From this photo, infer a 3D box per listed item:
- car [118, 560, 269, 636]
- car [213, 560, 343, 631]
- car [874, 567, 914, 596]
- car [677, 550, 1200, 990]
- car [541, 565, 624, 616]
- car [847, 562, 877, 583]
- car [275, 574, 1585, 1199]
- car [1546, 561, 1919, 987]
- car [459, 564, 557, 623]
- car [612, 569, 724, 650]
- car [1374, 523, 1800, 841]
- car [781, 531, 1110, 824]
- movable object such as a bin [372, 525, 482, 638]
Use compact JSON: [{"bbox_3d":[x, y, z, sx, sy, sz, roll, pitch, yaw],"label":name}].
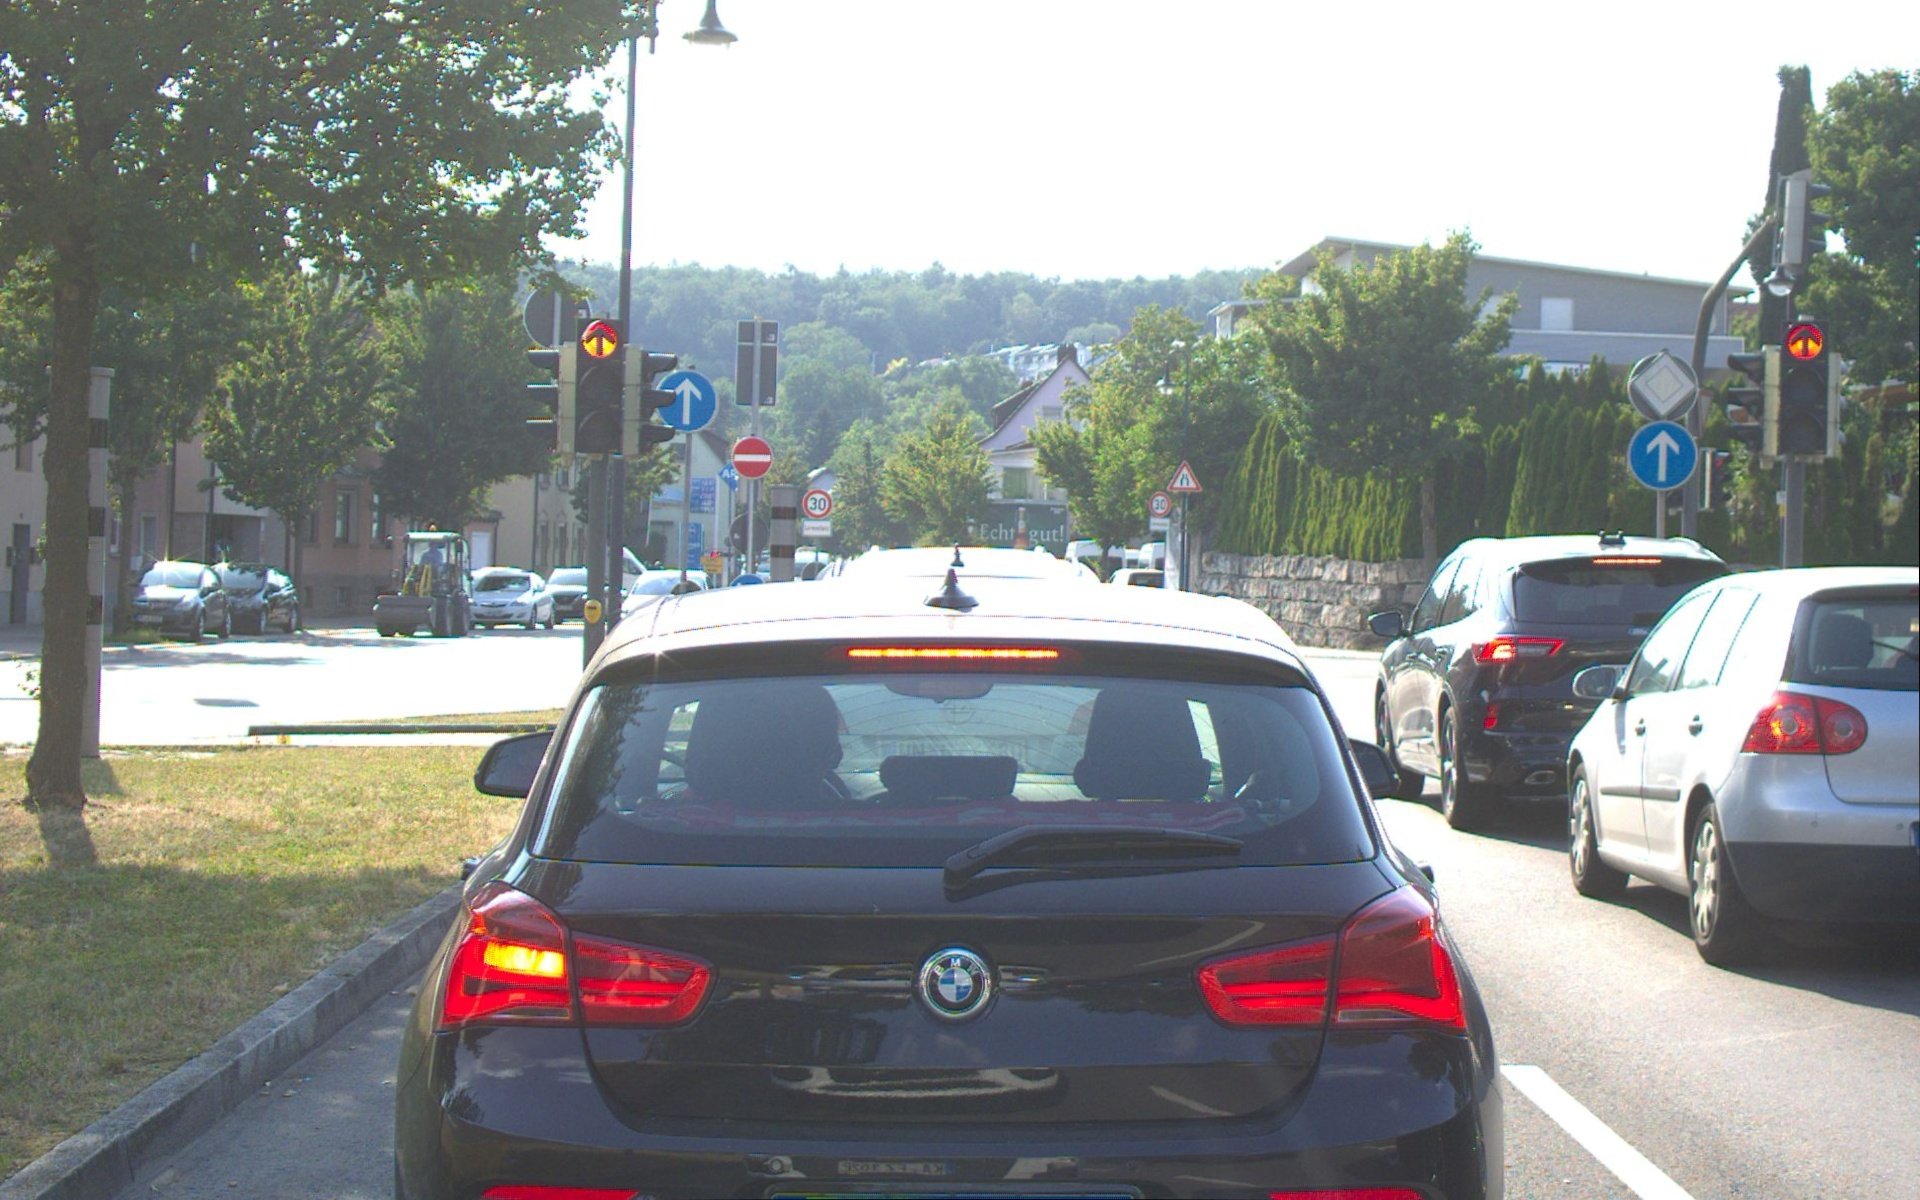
[{"bbox_3d":[-14.931,-0.060,67.156,1.737,1.296,4.000,5,1,3],"label":"car"},{"bbox_3d":[-14.512,-0.116,73.339,1.737,1.296,4.000,5,1,2],"label":"car"},{"bbox_3d":[-3.397,-0.953,177.577,1.737,1.296,3.799,5,1,2],"label":"car"},{"bbox_3d":[-0.070,0.556,14.007,1.788,1.488,4.281,-1,1,0],"label":"car"},{"bbox_3d":[-10.959,-0.301,100.007,1.737,1.296,3.799,5,1,2],"label":"car"},{"bbox_3d":[-6.743,-1.923,237.060,1.737,1.296,3.799,5,1,2],"label":"car"},{"bbox_3d":[-0.034,0.676,6.861,1.788,1.393,4.281,-1,1,0],"label":"car"},{"bbox_3d":[3.559,0.574,13.744,1.761,1.421,3.903,-1,1,0],"label":"car"},{"bbox_3d":[-11.457,-0.184,87.387,1.737,1.296,3.799,5,1,2],"label":"car"},{"bbox_3d":[-5.654,0.161,66.903,1.839,1.477,4.000,1,1,0],"label":"car"},{"bbox_3d":[3.533,0.396,20.026,1.761,1.650,3.903,-1,1,0],"label":"car"},{"bbox_3d":[-0.076,0.392,21.046,1.788,1.588,4.281,-1,1,0],"label":"car"},{"bbox_3d":[-11.853,-0.435,76.700,1.736,2.433,4.450,0,1,0],"label":"movable object such as a bin"}]
